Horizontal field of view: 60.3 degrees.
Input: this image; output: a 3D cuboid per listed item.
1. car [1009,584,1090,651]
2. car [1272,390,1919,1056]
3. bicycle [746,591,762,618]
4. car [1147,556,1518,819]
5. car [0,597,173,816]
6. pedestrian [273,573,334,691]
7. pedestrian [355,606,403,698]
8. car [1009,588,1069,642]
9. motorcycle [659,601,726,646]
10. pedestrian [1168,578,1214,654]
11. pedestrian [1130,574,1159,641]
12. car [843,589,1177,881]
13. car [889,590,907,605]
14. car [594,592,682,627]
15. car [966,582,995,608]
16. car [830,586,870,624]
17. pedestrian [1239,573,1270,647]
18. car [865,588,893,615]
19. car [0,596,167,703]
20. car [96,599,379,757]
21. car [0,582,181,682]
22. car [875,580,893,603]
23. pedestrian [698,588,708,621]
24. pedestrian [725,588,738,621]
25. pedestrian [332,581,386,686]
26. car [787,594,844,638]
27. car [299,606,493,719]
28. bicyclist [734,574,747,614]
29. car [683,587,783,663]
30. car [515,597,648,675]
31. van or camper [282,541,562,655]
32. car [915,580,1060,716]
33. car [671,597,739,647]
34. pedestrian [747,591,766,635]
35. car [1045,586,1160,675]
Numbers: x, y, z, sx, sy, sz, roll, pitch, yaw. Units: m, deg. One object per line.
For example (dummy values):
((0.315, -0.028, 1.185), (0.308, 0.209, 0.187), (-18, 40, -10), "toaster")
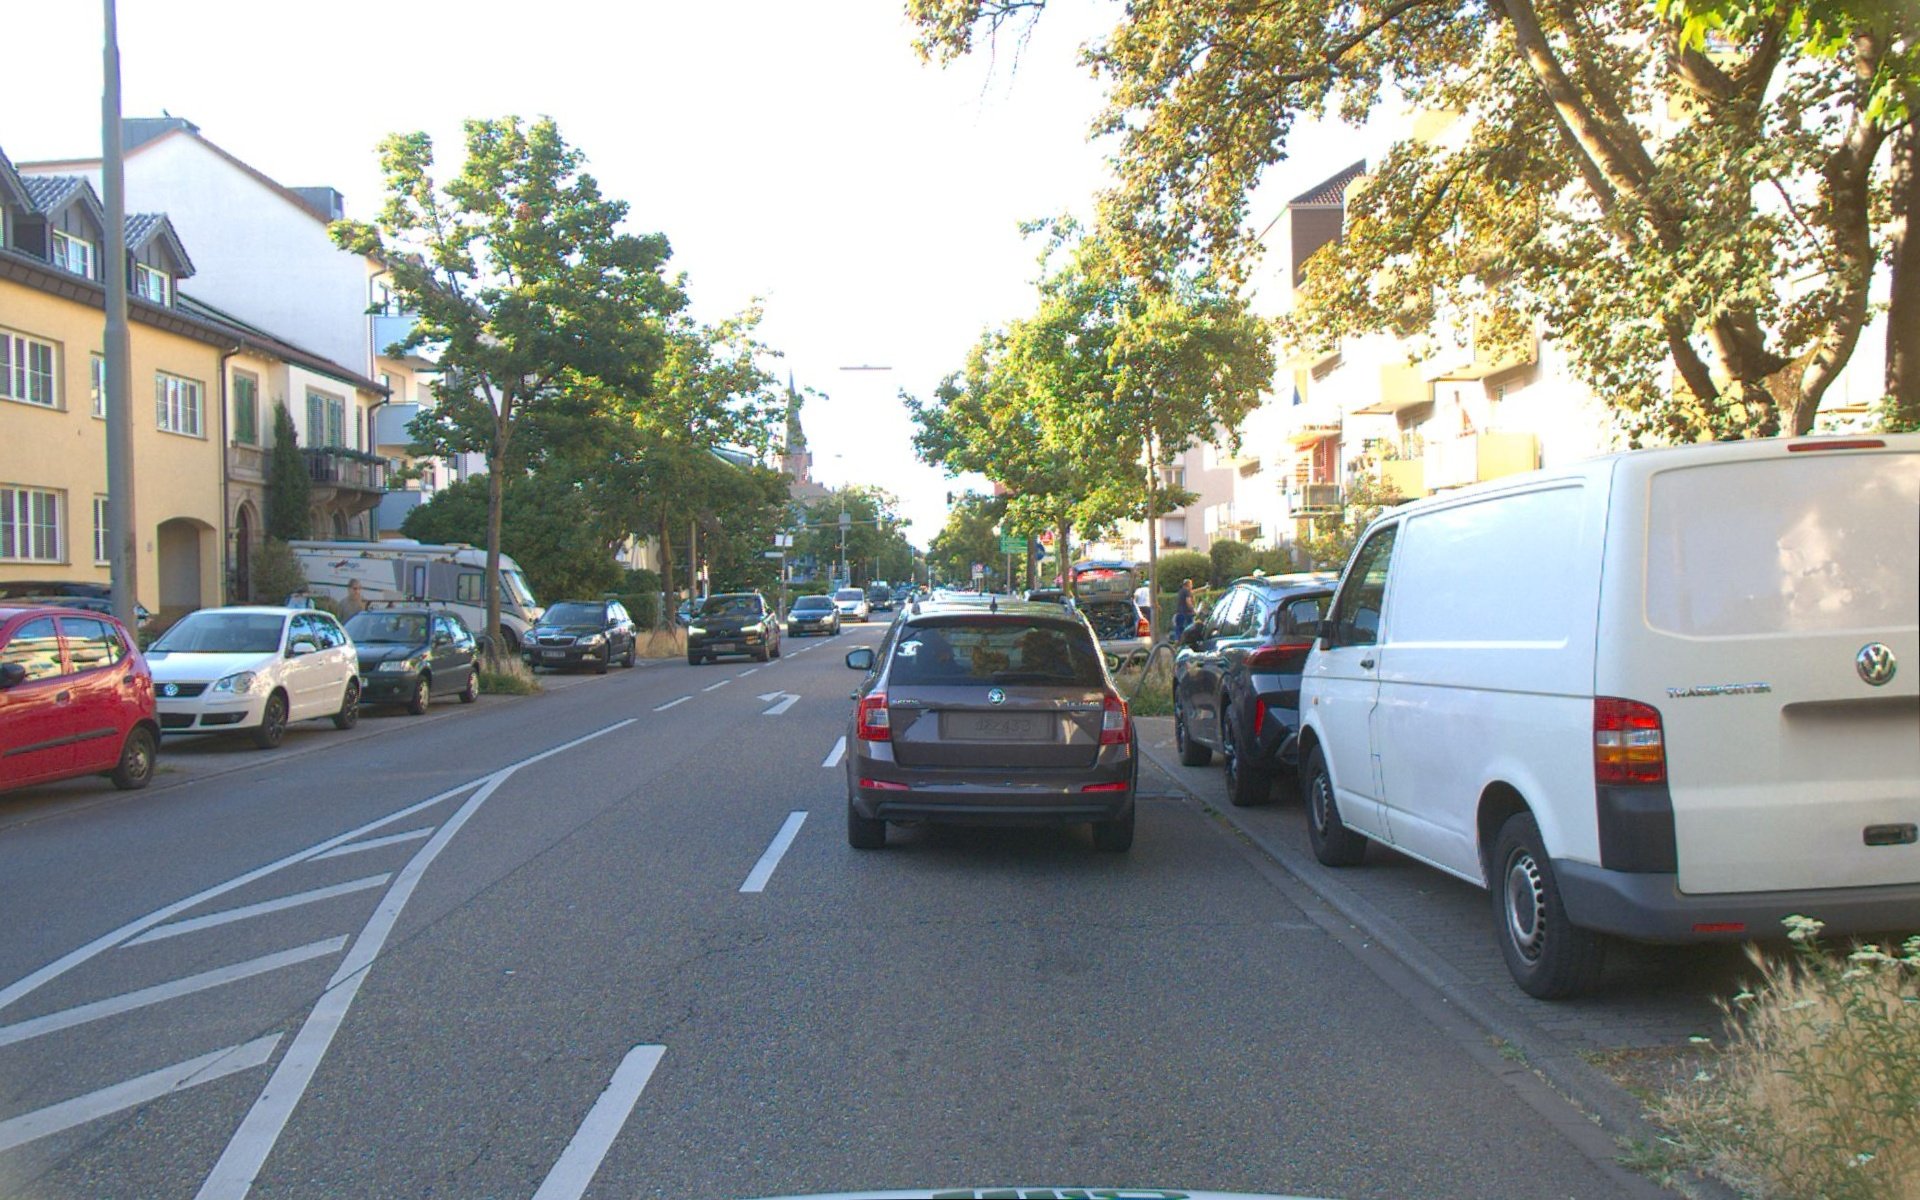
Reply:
((2.329, 0.430, 44.022), (1.818, 1.609, 4.012), (-3, 0, -1), "car")
((2.920, 0.375, 7.704), (1.865, 2.140, 4.639), (-1, 0, -2), "car")
((-8.604, 0.180, 69.030), (0.476, 1.083, 1.534), (-1, 0, -1), "bicycle")
((2.721, 0.566, 13.149), (1.818, 1.631, 4.310), (-3, 0, -1), "car")
((-7.609, 0.773, 12.510), (1.560, 1.550, 3.437), (-1, 0, 2), "car")
((-10.301, 0.501, 25.961), (0.699, 1.824, 0.506), (-1, 0, 2), "pedestrian")
((-9.890, 0.876, 28.158), (0.577, 1.522, 0.542), (-1, 0, 2), "pedestrian")
((2.332, 0.426, 49.554), (1.668, 1.475, 4.014), (-3, 0, 1), "car")
((-7.844, 0.701, 48.451), (2.014, 1.287, 0.764), (-1, 0, 38), "motorcycle")
((5.117, 0.354, 36.635), (0.742, 1.668, 0.693), (-1, 0, 36), "pedestrian")
((5.050, 0.196, 45.324), (0.649, 1.779, 0.772), (-2, 0, 2), "pedestrian")
((0.218, 0.692, 10.760), (1.737, 1.515, 4.310), (0, 0, -1), "car")
((-6.590, -0.263, 176.964), (1.793, 1.607, 4.000), (-1, 0, -1), "car")
((-17.964, 0.537, 92.347), (4.540, 1.843, 1.861), (-1, 0, -1), "car")
((1.508, -0.336, 118.944), (1.952, 1.803, 4.001), (1, 0, 2), "car")
((-5.624, 0.255, 85.098), (1.769, 1.836, 4.744), (-3, 0, -1), "car")
((6.725, 0.219, 37.733), (0.467, 1.668, 0.533), (-1, 0, -20), "pedestrian")
((-6.242, 0.073, 128.199), (1.953, 1.942, 4.963), (-3, 0, -1), "car")
((-13.481, 0.688, 24.433), (1.630, 1.433, 3.753), (-2, 0, 1), "car")
((-7.988, 0.785, 18.666), (1.561, 1.550, 3.889), (-1, 0, -2), "car")
((-16.169, 0.531, 29.196), (3.905, 1.664, 1.866), (1, 0, 0), "car")
((-8.802, -0.983, 191.312), (1.953, 2.521, 3.999), (-1, 0, -1), "car")
((-14.393, 0.266, 92.808), (0.440, 1.828, 0.504), (-1, 0, 0), "pedestrian")
((-12.934, 0.258, 93.508), (0.603, 1.828, 0.504), (-1, 0, 0), "pedestrian")
((-10.551, 0.583, 29.056), (0.699, 1.824, 0.572), (-1, 0, 2), "pedestrian")
((-5.370, 0.569, 62.056), (1.725, 1.477, 4.533), (-3, 0, -1), "car")
((-7.884, 0.818, 23.438), (1.511, 1.421, 3.665), (-1, 0, -1), "car")
((-9.187, -0.253, 69.257), (0.459, 1.692, 0.552), (-1, 0, -2), "bicyclist")
((-5.262, 0.569, 38.768), (1.798, 1.597, 3.999), (-3, 0, -1), "car")
((-7.981, 0.709, 35.279), (1.829, 1.521, 4.517), (1, 0, -1), "car")
((-14.348, -0.046, 44.445), (6.660, 2.821, 2.351), (1, 0, -2), "van or camper")
((0.333, 0.567, 21.763), (1.701, 1.598, 4.000), (1, 0, 0), "car")
((-8.012, 0.667, 52.201), (1.561, 1.496, 3.803), (1, 0, -1), "car")
((-9.554, 0.618, 77.724), (0.764, 2.022, 0.821), (-1, 0, 0), "pedestrian")
((2.646, 0.529, 31.484), (1.673, 1.506, 4.267), (-3, 0, -1), "car")
